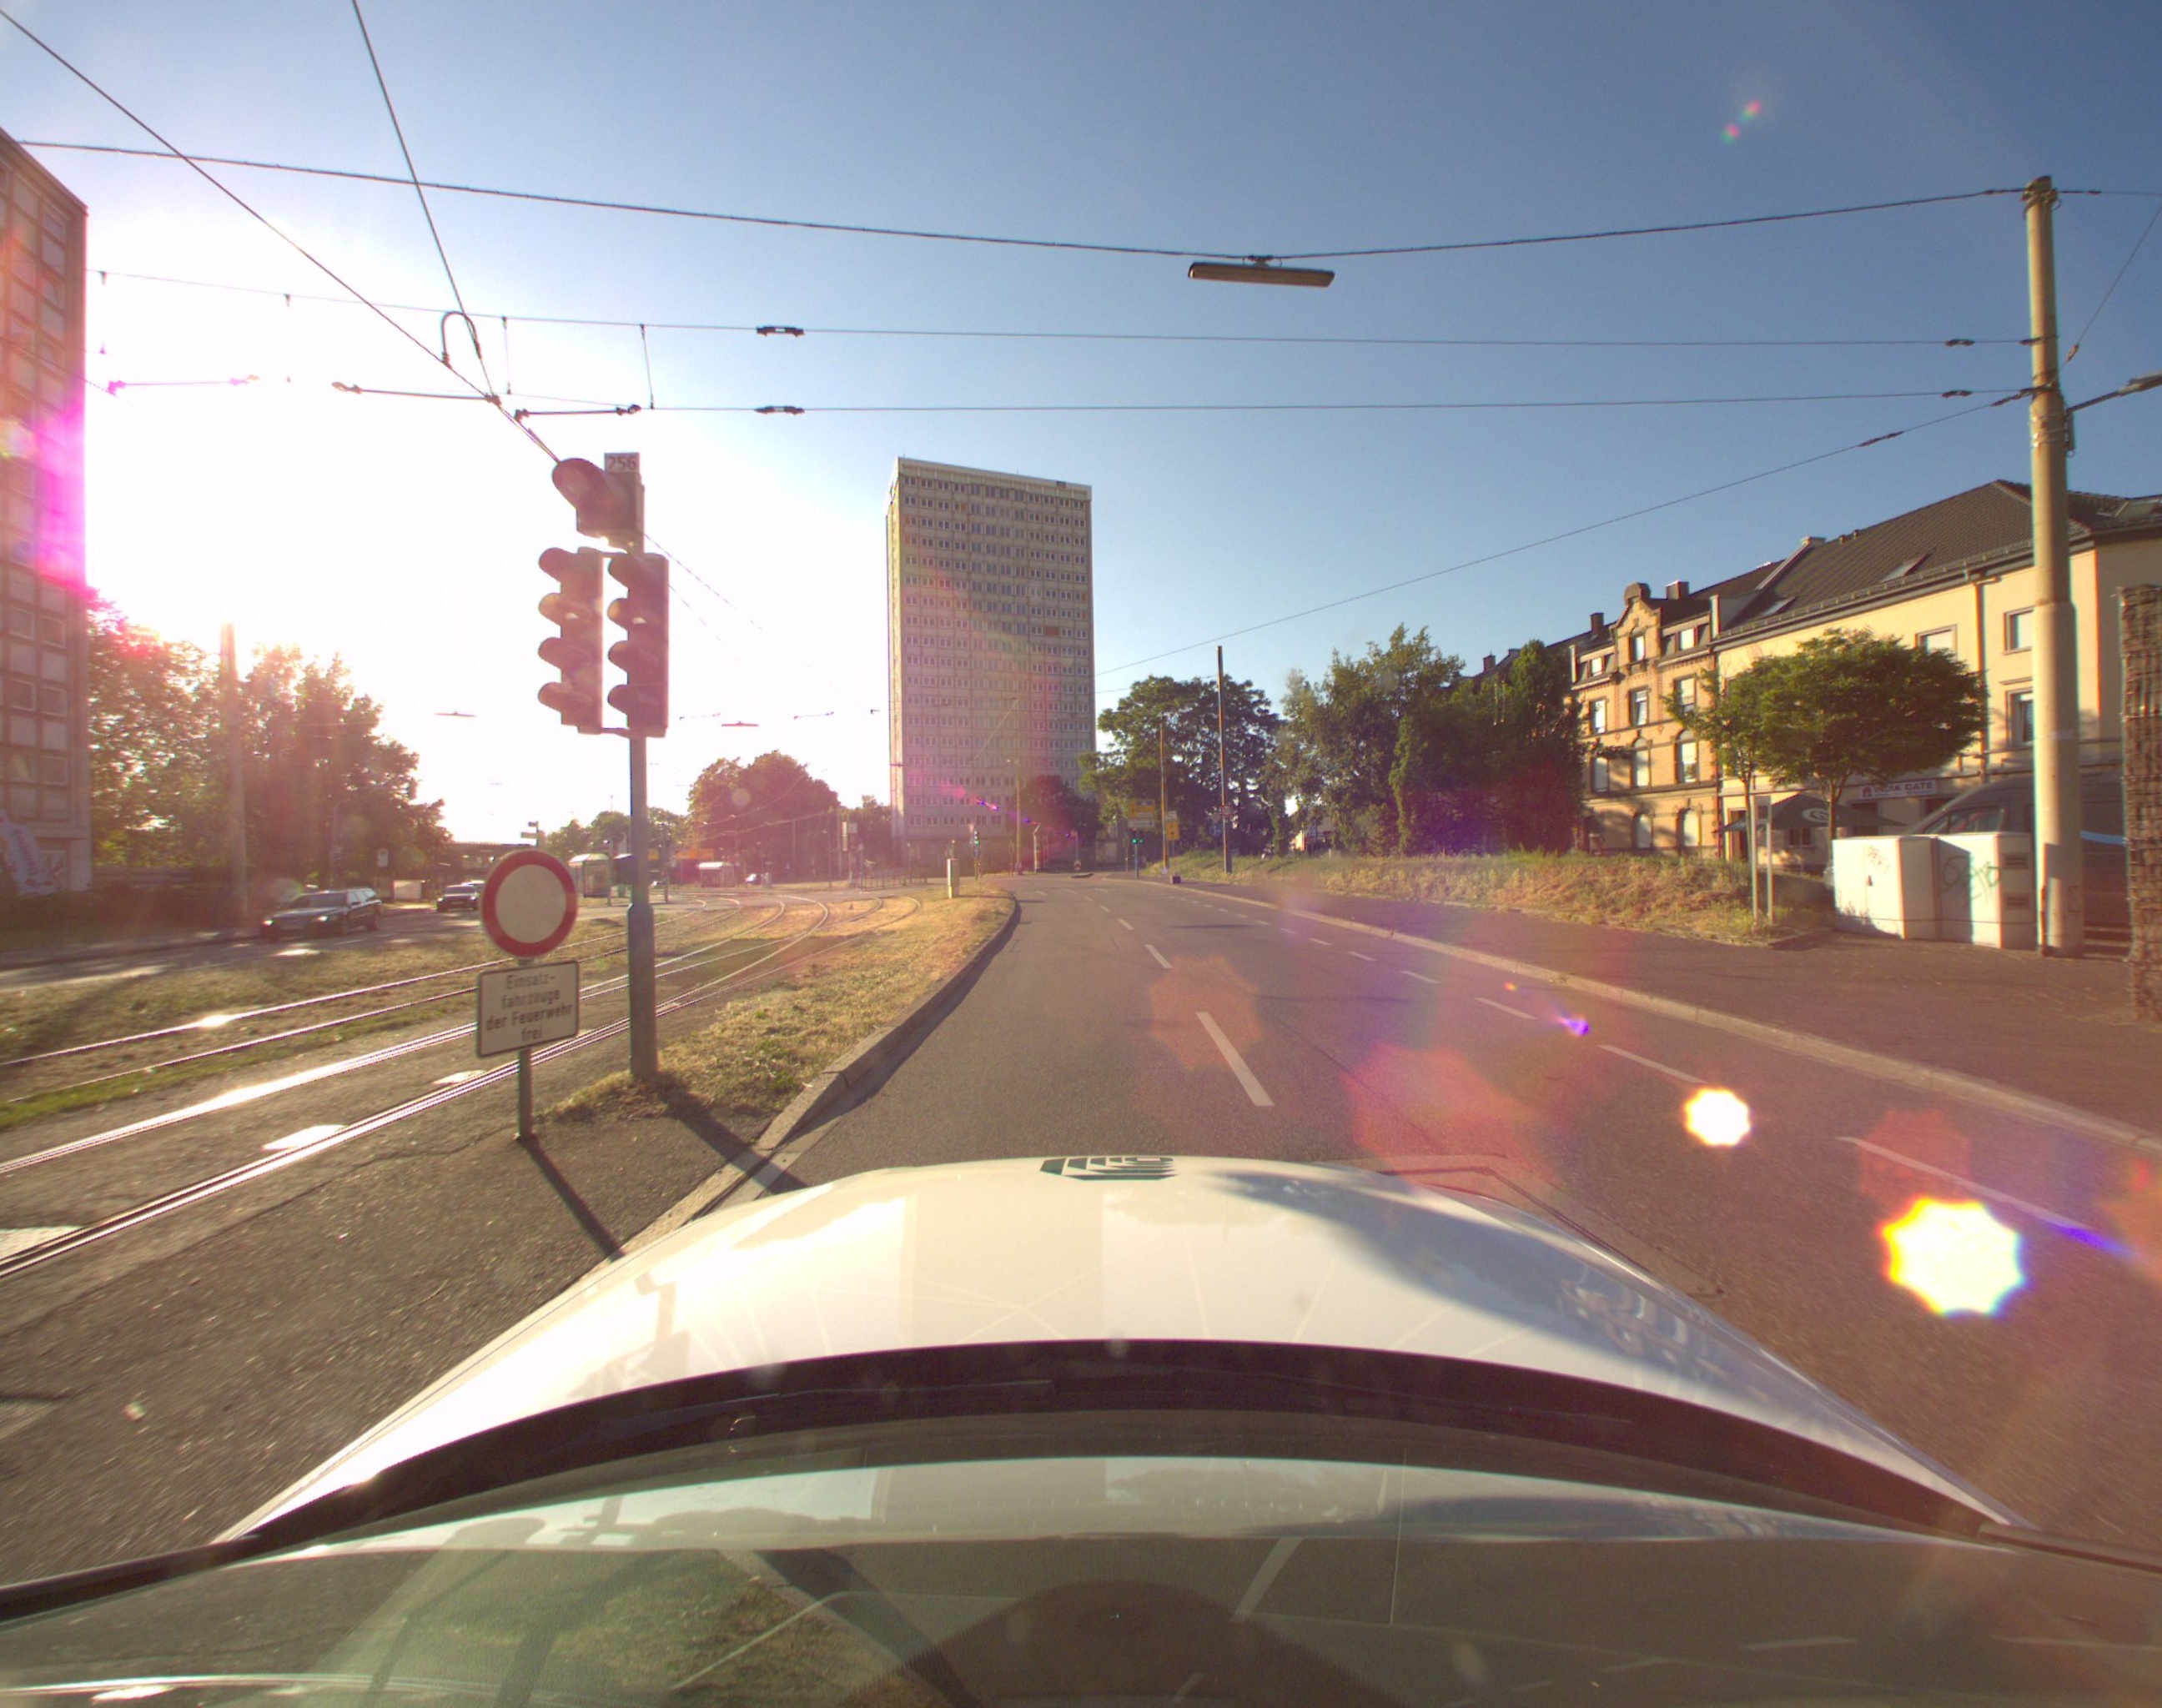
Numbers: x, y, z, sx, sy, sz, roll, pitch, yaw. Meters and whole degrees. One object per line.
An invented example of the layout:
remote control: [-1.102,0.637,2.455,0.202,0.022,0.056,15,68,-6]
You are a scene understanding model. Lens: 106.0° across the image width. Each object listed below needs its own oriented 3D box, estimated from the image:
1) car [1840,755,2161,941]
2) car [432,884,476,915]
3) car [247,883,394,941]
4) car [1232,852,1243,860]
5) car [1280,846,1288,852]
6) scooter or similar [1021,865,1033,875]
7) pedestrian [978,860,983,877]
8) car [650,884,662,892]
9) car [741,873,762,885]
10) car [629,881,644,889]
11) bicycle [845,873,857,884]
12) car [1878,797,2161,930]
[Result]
car: [16.154,-0.095,12.582,2.053,2.666,6.145,-1,-1,-37]
car: [-34.836,2.476,45.347,1.664,1.596,4.537,-1,-1,-34]
car: [-23.638,1.734,25.536,1.783,1.481,4.367,-4,0,-21]
car: [32.921,0.424,171.255,1.859,1.458,3.803,-3,0,16]
car: [53.684,-1.300,215.244,1.844,1.543,4.018,-3,0,16]
scooter or similar: [-6.298,1.885,94.987,1.301,1.170,0.325,-2,0,-18]
pedestrian: [-9.457,1.381,76.719,0.436,1.612,0.628,-2,-1,-9]
car: [-82.405,6.500,157.769,1.527,1.388,3.325,-1,0,-37]
car: [-41.486,3.134,102.450,1.784,1.422,3.817,-2,-1,-32]
car: [-93.494,6.581,171.319,2.054,1.446,3.954,-2,1,-38]
bicycle: [-19.633,2.077,69.577,0.552,0.918,1.740,-3,0,-4]
car: [18.390,0.150,14.754,2.053,2.214,5.354,-1,-1,-37]
